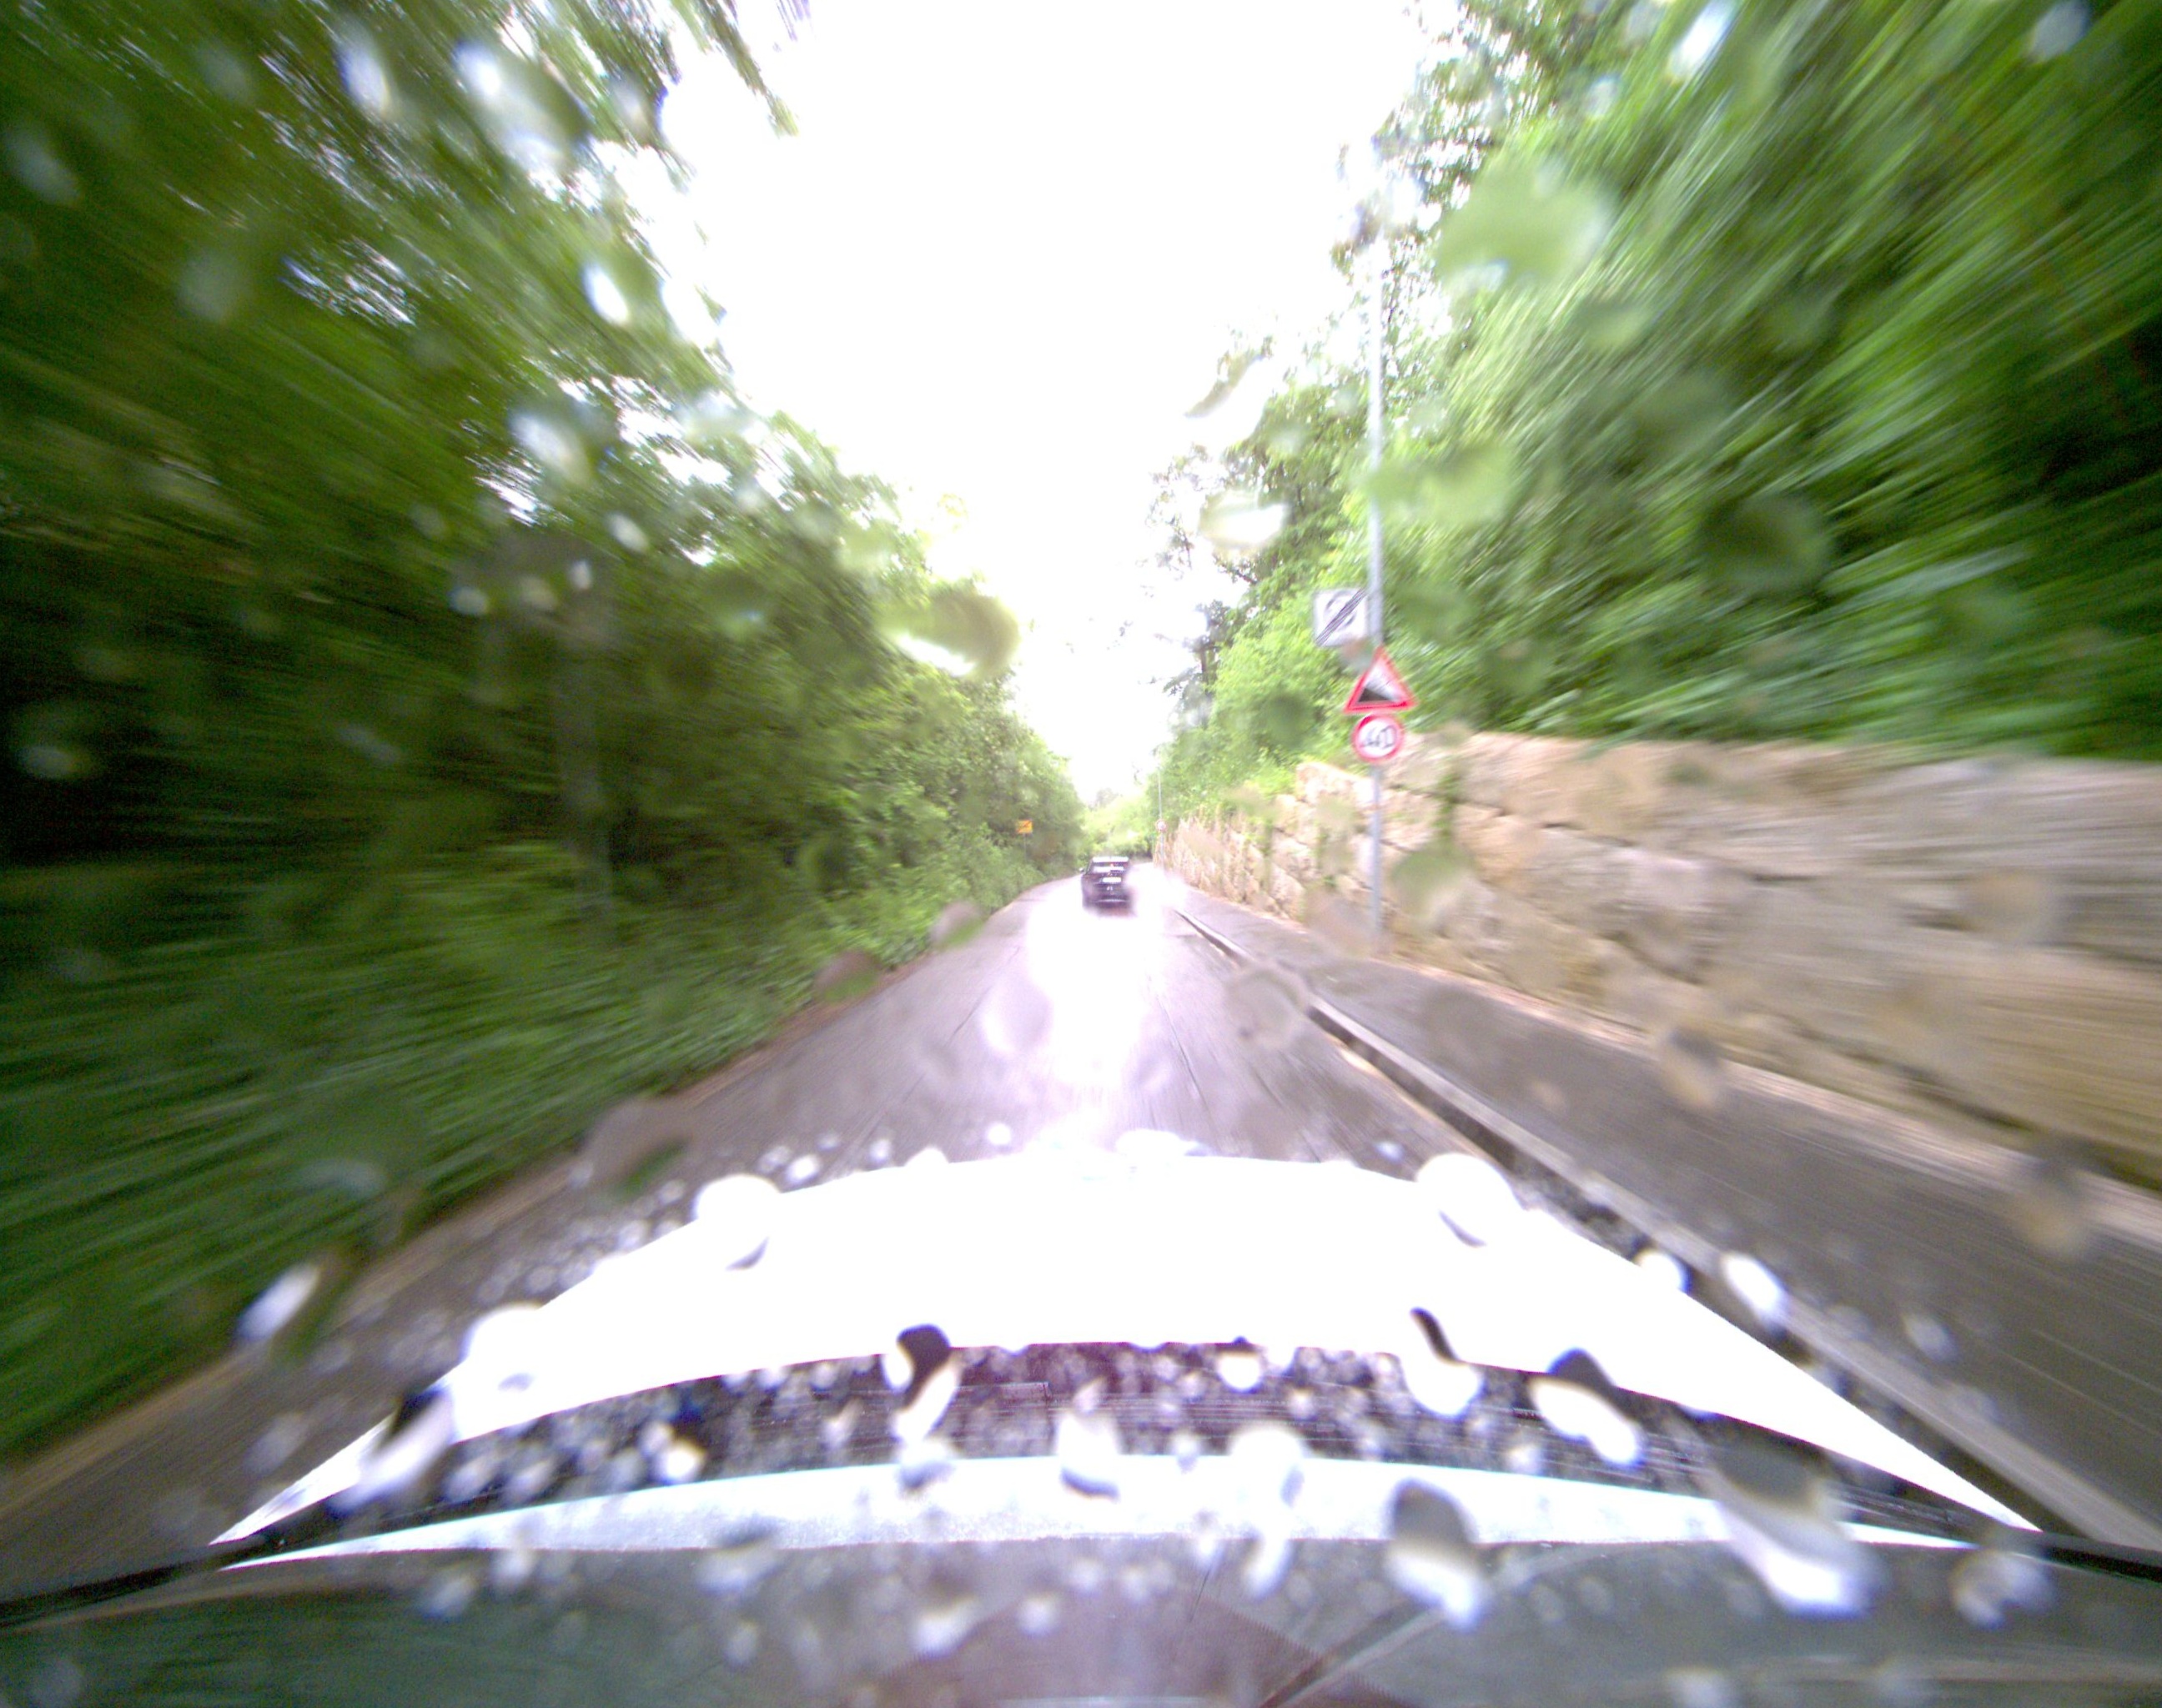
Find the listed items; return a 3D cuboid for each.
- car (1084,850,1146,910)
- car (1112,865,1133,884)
[{"bbox_3d":[0.964,0.724,25.050,1.694,1.450,4.000,-2,3,0],"label":"car"},{"bbox_3d":[3.937,1.887,77.408,1.857,1.743,4.000,0,-1,0],"label":"car"}]
